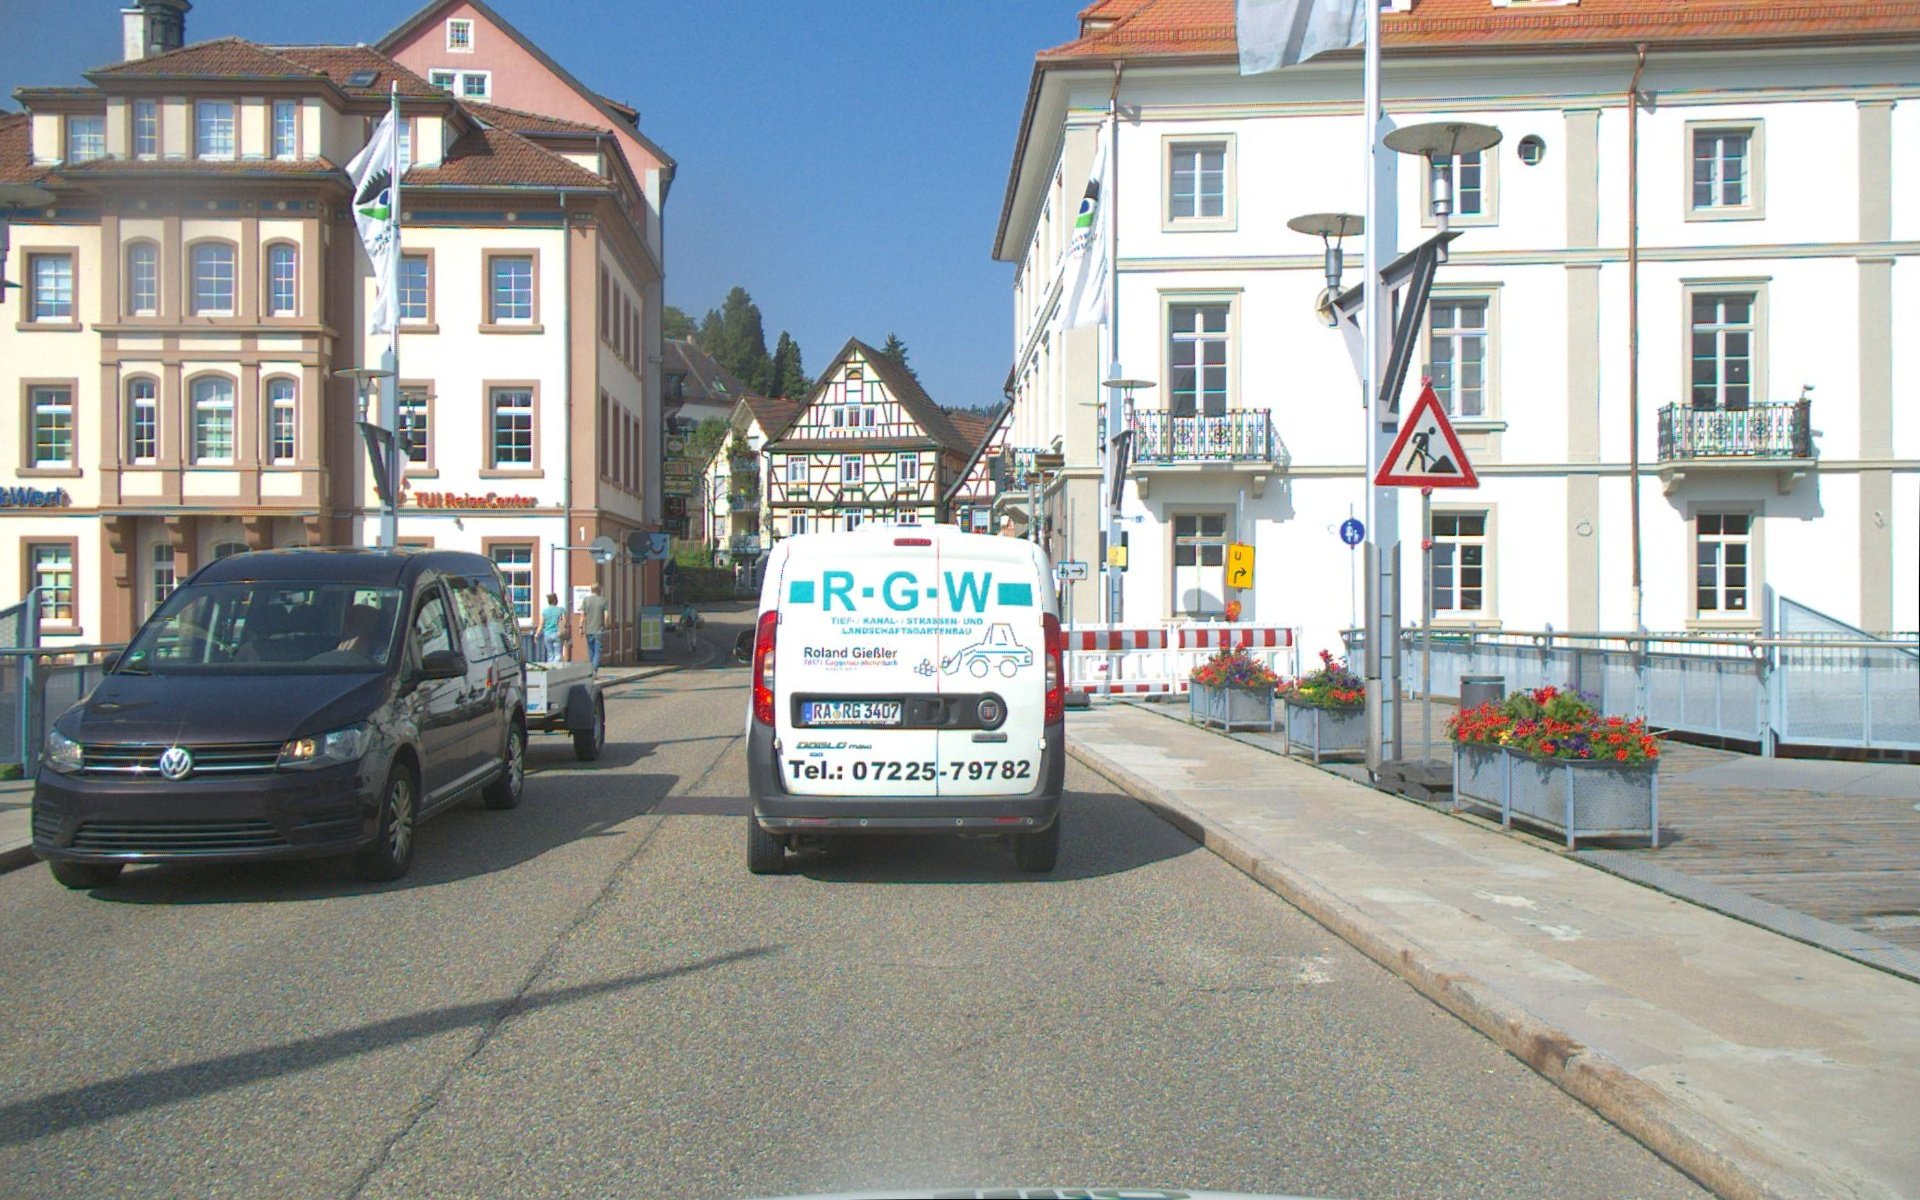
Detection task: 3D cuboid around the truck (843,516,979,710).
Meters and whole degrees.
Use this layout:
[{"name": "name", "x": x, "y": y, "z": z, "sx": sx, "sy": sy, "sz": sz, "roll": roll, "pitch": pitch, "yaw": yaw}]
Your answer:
[{"name": "truck", "x": -0.817, "y": 0.182, "z": 24.722, "sx": 1.825, "sy": 2.630, "sz": 4.256, "roll": 0, "pitch": 0, "yaw": -5}]

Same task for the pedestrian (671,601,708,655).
[{"name": "pedestrian", "x": -8.523, "y": 0.887, "z": 52.095, "sx": 1.052, "sy": 1.676, "sz": 0.685, "roll": 0, "pitch": 1, "yaw": -2}]

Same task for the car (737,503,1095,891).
[{"name": "car", "x": -0.483, "y": 0.494, "z": 10.519, "sx": 1.809, "sy": 1.939, "sz": 4.307, "roll": 1, "pitch": 0, "yaw": -7}]

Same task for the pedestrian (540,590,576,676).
[{"name": "pedestrian", "x": -7.699, "y": 0.624, "z": 31.694, "sx": 0.572, "sy": 1.638, "sz": 0.536, "roll": 1, "pitch": 0, "yaw": -6}]

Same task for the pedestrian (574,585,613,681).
[{"name": "pedestrian", "x": -6.964, "y": 0.617, "z": 31.465, "sx": 0.603, "sy": 1.793, "sz": 0.863, "roll": 1, "pitch": 0, "yaw": -5}]

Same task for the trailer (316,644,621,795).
[{"name": "trailer", "x": -4.122, "y": 0.951, "z": 14.531, "sx": 1.716, "sy": 1.040, "sz": 4.181, "roll": -1, "pitch": -1, "yaw": -5}]

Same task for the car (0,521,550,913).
[{"name": "car", "x": -3.813, "y": 0.526, "z": 10.104, "sx": 1.742, "sy": 1.824, "sz": 4.693, "roll": 1, "pitch": 1, "yaw": -4}]
